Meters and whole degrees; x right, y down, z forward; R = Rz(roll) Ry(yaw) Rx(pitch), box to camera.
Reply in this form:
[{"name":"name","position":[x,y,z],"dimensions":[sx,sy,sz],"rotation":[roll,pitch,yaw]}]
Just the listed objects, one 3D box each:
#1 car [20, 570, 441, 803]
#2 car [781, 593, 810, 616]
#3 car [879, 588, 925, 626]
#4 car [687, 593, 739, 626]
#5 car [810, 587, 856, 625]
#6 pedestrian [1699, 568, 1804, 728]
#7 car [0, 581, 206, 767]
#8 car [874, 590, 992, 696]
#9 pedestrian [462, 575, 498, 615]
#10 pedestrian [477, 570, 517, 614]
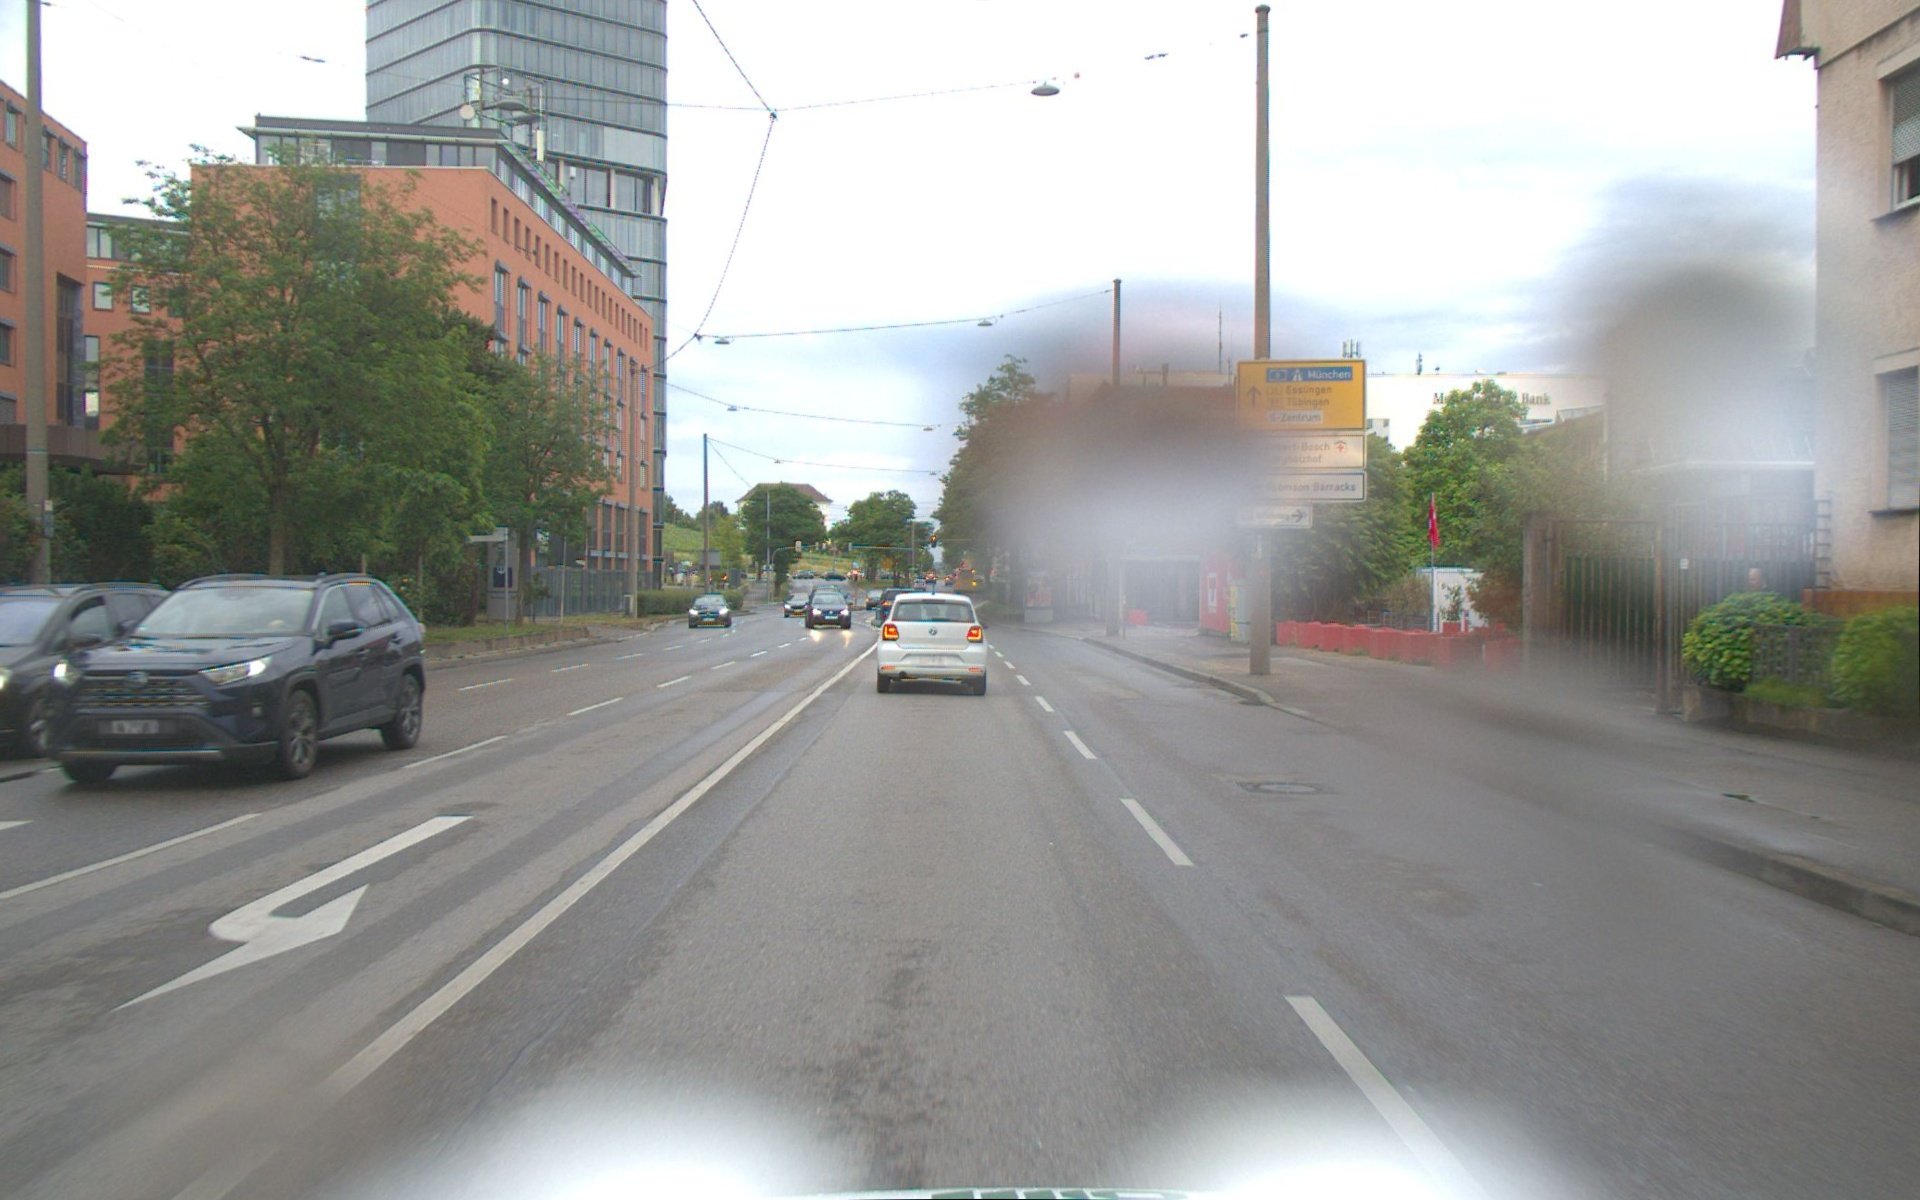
[{"name":"car","position":[-6.071,0.597,14.429],"dimensions":[1.721,1.582,4.450],"rotation":[-2,2,-1]},{"name":"car","position":[-10.244,0.268,103.355],"dimensions":[1.678,1.389,3.996],"rotation":[0,0,-4]},{"name":"car","position":[-2.531,0.291,72.701],"dimensions":[1.953,1.601,3.999],"rotation":[0,0,-1]},{"name":"car","position":[-11.046,0.416,74.196],"dimensions":[1.588,1.346,4.447],"rotation":[-2,1,0]},{"name":"car","position":[-5.109,0.214,67.041],"dimensions":[1.625,1.512,3.819],"rotation":[0,0,-1]},{"name":"pedestrian","position":[9.159,0.546,19.168],"dimensions":[0.892,1.795,0.768],"rotation":[2,-1,10]},{"name":"car","position":[-9.316,0.662,16.523],"dimensions":[1.673,1.593,4.034],"rotation":[-2,1,-1]},{"name":"car","position":[-0.484,0.597,25.462],"dimensions":[1.638,1.499,3.777],"rotation":[1,0,-4]},{"name":"pedestrian","position":[-21.631,-0.221,74.512],"dimensions":[1.182,1.708,1.419],"rotation":[-2,-2,-1]},{"name":"pedestrian","position":[-20.457,-0.363,73.098],"dimensions":[1.288,1.855,1.438],"rotation":[-2,-2,-1]}]
